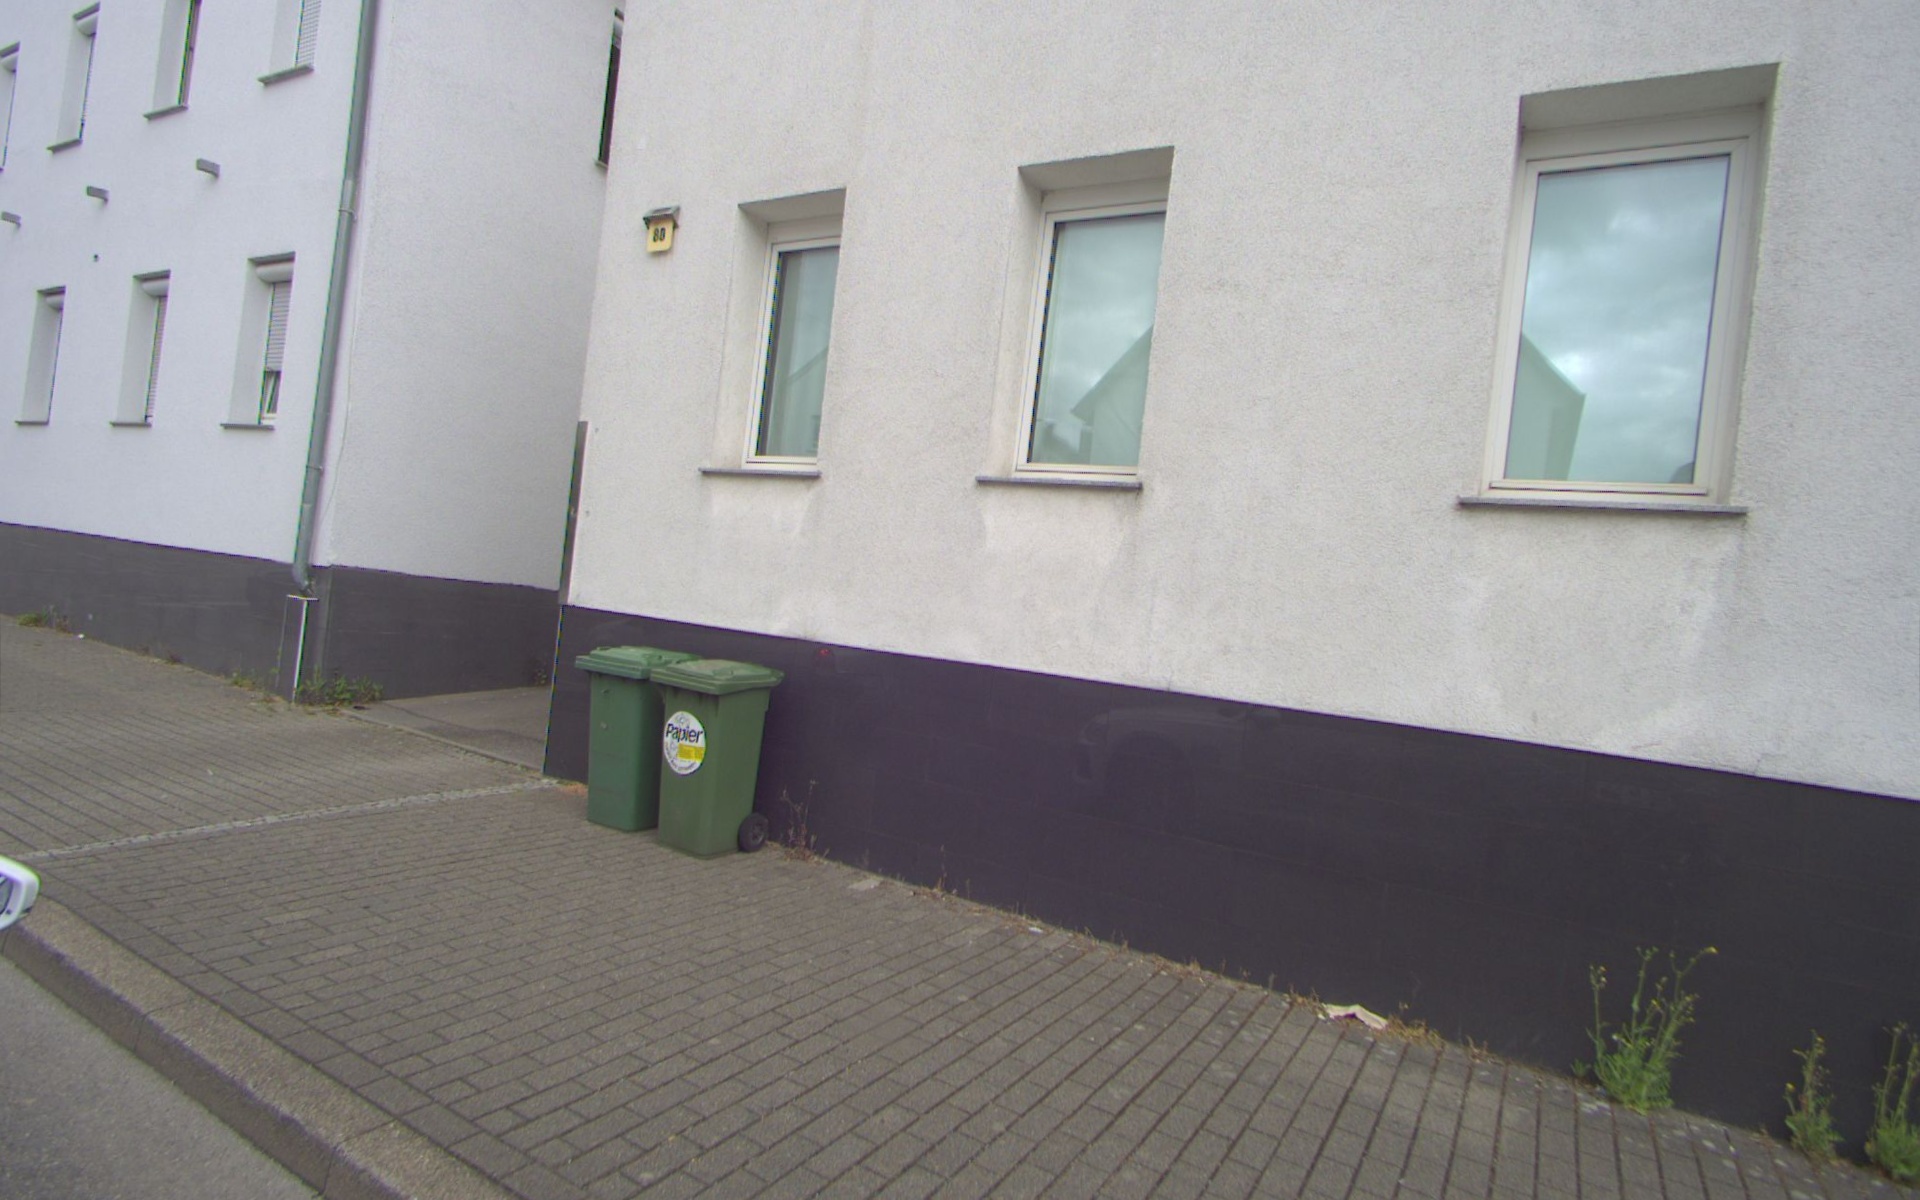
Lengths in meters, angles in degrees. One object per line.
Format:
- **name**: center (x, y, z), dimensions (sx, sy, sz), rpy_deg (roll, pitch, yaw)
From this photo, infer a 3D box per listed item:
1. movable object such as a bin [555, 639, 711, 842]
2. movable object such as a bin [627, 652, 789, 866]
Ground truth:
- **movable object such as a bin**: center (-1.722, 0.711, 5.322), dimensions (0.479, 0.953, 0.540), rpy_deg (7, 2, 32)
- **movable object such as a bin**: center (-1.264, 0.765, 5.064), dimensions (0.479, 0.953, 0.540), rpy_deg (7, 2, 32)
